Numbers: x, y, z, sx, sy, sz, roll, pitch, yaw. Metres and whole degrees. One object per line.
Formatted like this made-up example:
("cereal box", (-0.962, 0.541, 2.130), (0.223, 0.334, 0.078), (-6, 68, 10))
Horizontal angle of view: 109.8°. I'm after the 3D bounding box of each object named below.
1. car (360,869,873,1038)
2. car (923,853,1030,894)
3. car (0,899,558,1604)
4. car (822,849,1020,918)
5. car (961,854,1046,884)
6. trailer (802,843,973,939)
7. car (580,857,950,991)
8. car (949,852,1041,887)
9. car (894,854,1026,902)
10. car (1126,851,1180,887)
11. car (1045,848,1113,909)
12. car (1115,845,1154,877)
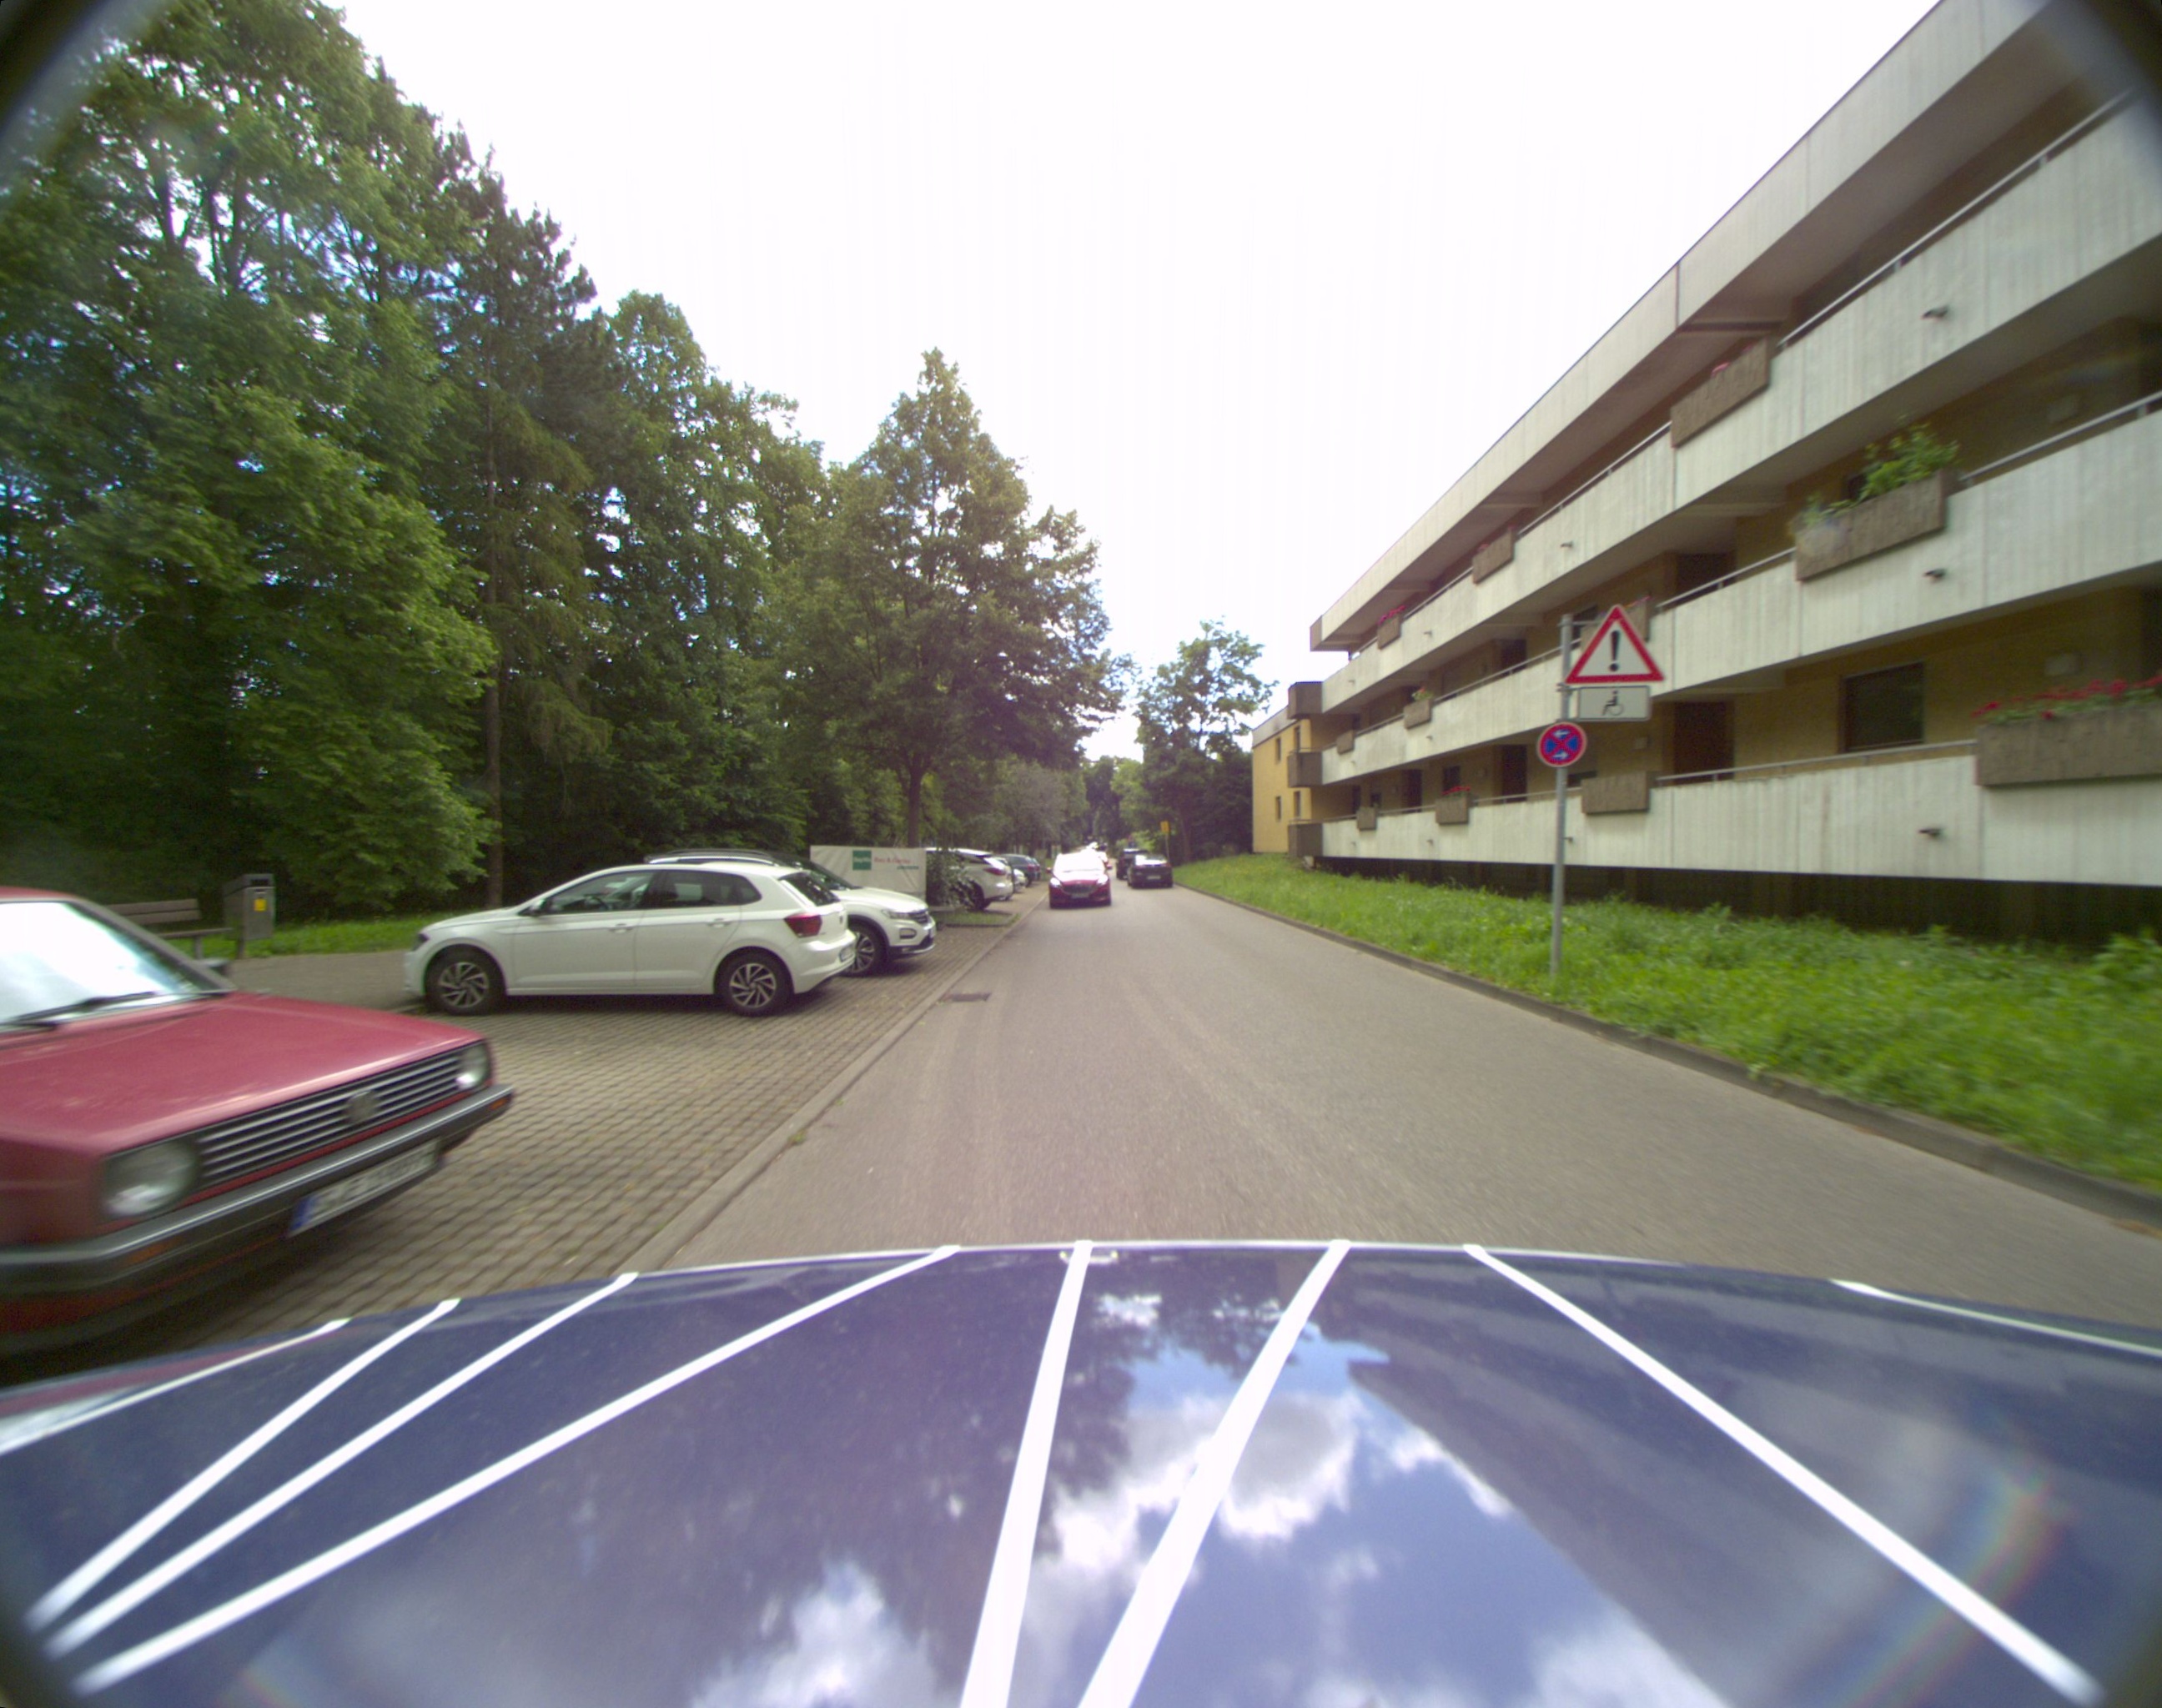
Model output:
("car", (-4.335, 0.915, 7.664), (4.020, 1.414, 1.791), (1, 1, -4))
("car", (-4.153, 0.758, 30.742), (4.170, 1.561, 1.785), (0, 1, -3))
("car", (-4.437, 0.927, 2.569), (4.064, 1.414, 1.816), (1, 1, 0))
("car", (-4.211, 0.735, 20.477), (4.828, 1.683, 1.974), (1, 1, 4))
("car", (-3.838, 0.716, 38.265), (4.097, 1.455, 1.785), (0, 1, -1))
("trailer", (-3.793, 0.703, 15.273), (3.037, 1.780, 1.563), (1, 1, -2))
("car", (-3.945, 0.850, 10.073), (4.124, 1.539, 1.860), (1, 1, -2))
("car", (-3.969, 0.698, 35.643), (4.146, 1.561, 1.785), (0, 1, -1))
("car", (-4.065, 0.782, 25.968), (4.168, 1.561, 1.851), (0, 1, 3))
("car", (3.099, 0.627, 33.587), (1.918, 1.403, 4.423), (-2, 1, 0))
("car", (-0.040, 0.701, 24.511), (1.918, 1.707, 5.038), (-2, 1, 1))
("car", (3.030, 0.370, 44.024), (1.918, 1.707, 5.058), (-2, 1, 1))
